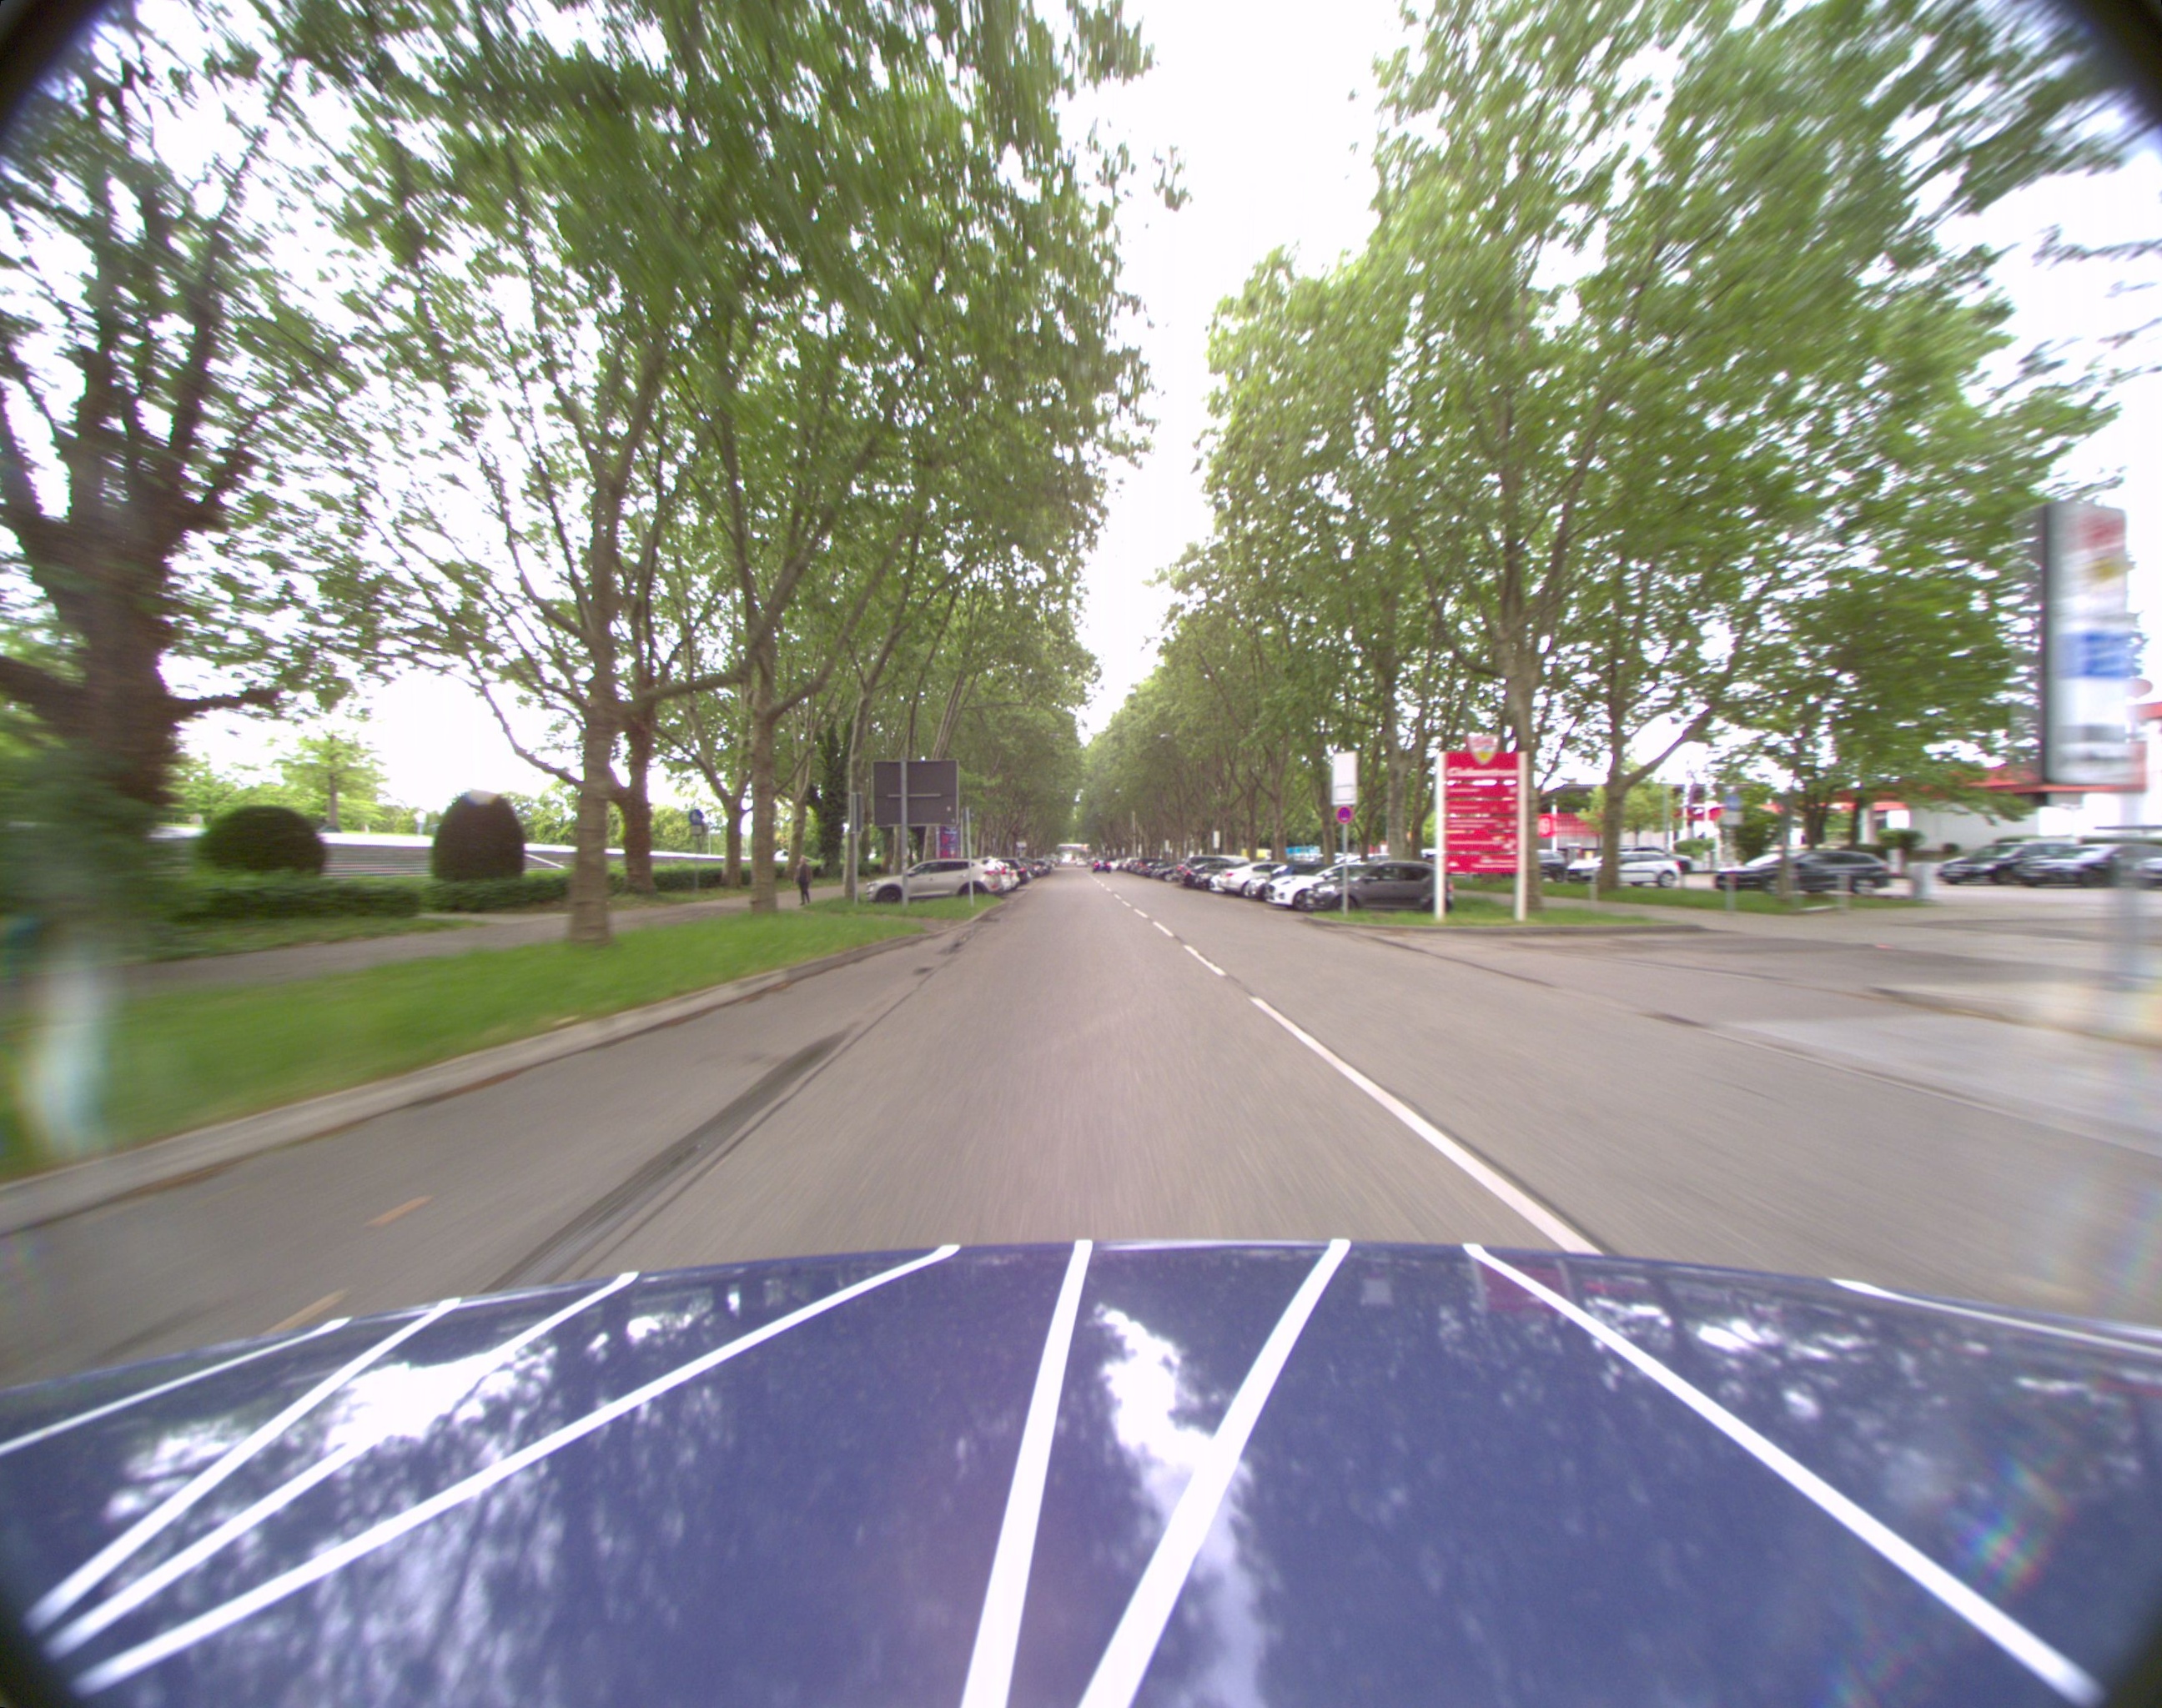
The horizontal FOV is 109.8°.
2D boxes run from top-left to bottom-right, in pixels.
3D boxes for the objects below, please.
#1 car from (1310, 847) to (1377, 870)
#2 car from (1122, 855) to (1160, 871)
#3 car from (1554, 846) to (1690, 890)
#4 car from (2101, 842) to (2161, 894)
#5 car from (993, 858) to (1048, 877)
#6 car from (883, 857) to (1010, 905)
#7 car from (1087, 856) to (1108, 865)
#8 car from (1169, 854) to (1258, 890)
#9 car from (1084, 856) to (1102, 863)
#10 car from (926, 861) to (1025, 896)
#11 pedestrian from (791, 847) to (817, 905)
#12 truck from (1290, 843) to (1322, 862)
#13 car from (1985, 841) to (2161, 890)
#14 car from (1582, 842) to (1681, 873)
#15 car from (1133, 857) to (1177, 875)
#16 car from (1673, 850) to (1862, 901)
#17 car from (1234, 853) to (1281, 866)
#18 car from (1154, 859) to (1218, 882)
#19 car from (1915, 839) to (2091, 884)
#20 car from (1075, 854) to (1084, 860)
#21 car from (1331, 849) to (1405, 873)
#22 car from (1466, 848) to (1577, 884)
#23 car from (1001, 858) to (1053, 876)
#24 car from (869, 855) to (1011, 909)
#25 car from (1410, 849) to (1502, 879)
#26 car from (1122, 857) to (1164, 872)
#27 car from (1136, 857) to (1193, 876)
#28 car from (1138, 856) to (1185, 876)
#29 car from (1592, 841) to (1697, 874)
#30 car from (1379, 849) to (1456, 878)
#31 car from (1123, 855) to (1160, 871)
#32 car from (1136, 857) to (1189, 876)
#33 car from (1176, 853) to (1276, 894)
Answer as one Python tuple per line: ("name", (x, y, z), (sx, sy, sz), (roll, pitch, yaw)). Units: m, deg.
("car", (22.362, 0.385, 64.822), (4.955, 1.786, 2.182), (-1, 1, -3))
("car", (6.596, 0.996, 83.280), (3.997, 1.672, 1.855), (-1, 1, 0))
("car", (23.014, 0.570, 32.450), (4.332, 1.699, 2.131), (-1, 1, -2))
("car", (35.081, 0.395, 23.597), (4.332, 1.539, 1.958), (-1, 1, -2))
("car", (-5.184, 1.158, 65.498), (4.506, 1.411, 1.829), (-2, 0, 1))
("car", (-4.912, 0.987, 28.212), (4.357, 1.595, 1.925), (-2, 0, 0))
("car", (3.649, 1.377, 170.570), (4.492, 1.740, 2.001), (-3, 0, 4))
("car", (7.008, 0.925, 40.552), (4.328, 1.784, 2.036), (-1, 1, -1))
("car", (3.541, 1.595, 220.679), (4.920, 1.816, 2.000), (-1, -2, -4))
("car", (-4.889, 1.107, 35.583), (4.358, 1.447, 1.949), (-2, 0, -2))
("pedestrian", (-9.677, 0.757, 26.544), (0.788, 2.002, 0.598), (-1, 1, -17))
("truck", (33.638, -0.241, 113.593), (3.998, 2.701, 2.376), (-1, 1, -2))
("car", (34.367, 0.358, 26.118), (4.332, 1.539, 1.958), (-1, 1, -2))
("car", (35.157, 0.209, 48.651), (4.588, 1.844, 2.297), (-1, 1, 4))
("car", (6.836, 1.102, 70.656), (3.940, 1.507, 1.728), (1, 0, 1))
("car", (22.619, 0.671, 25.164), (4.332, 1.539, 2.203), (-1, 1, -2))
("car", (22.438, 0.714, 96.712), (5.363, 1.587, 2.094), (-1, 1, -2))
("car", (6.969, 1.089, 50.728), (3.988, 1.412, 1.756), (2, 0, 2))
("car", (34.406, 0.273, 28.441), (4.332, 1.539, 1.958), (-1, 1, -2))
("car", (-0.362, 0.808, 189.076), (1.999, 1.375, 4.677), (-3, 0, -4))
("car", (22.414, 0.573, 59.500), (4.955, 1.786, 2.182), (-1, 0, -3))
("car", (23.097, 0.604, 39.959), (4.530, 1.752, 2.296), (-1, 1, -2))
("car", (-4.784, 1.149, 67.868), (4.507, 1.420, 1.932), (-2, 0, 0))
("car", (-4.658, 0.919, 25.595), (4.357, 1.624, 1.925), (-2, 0, 0))
("car", (23.080, 0.609, 46.913), (4.564, 1.715, 2.296), (-1, 1, -2))
("car", (6.140, 1.050, 75.457), (4.004, 1.412, 1.703), (1, 0, -2))
("car", (6.878, 0.991, 63.018), (4.475, 1.473, 1.703), (1, 0, -2))
("car", (7.196, 1.033, 68.243), (3.941, 1.698, 1.752), (1, 0, -2))
("car", (34.114, 0.221, 46.138), (4.588, 1.844, 2.297), (-1, 1, 4))
("car", (23.058, 0.620, 52.176), (4.332, 1.850, 2.028), (-1, 1, -2))
("car", (6.753, 1.034, 85.707), (3.997, 1.672, 1.855), (-1, 1, 0))
("car", (6.465, 1.011, 60.388), (3.941, 1.390, 1.703), (1, 0, -2))
("car", (6.828, 0.907, 36.093), (4.328, 1.799, 1.867), (1, 0, -1))
